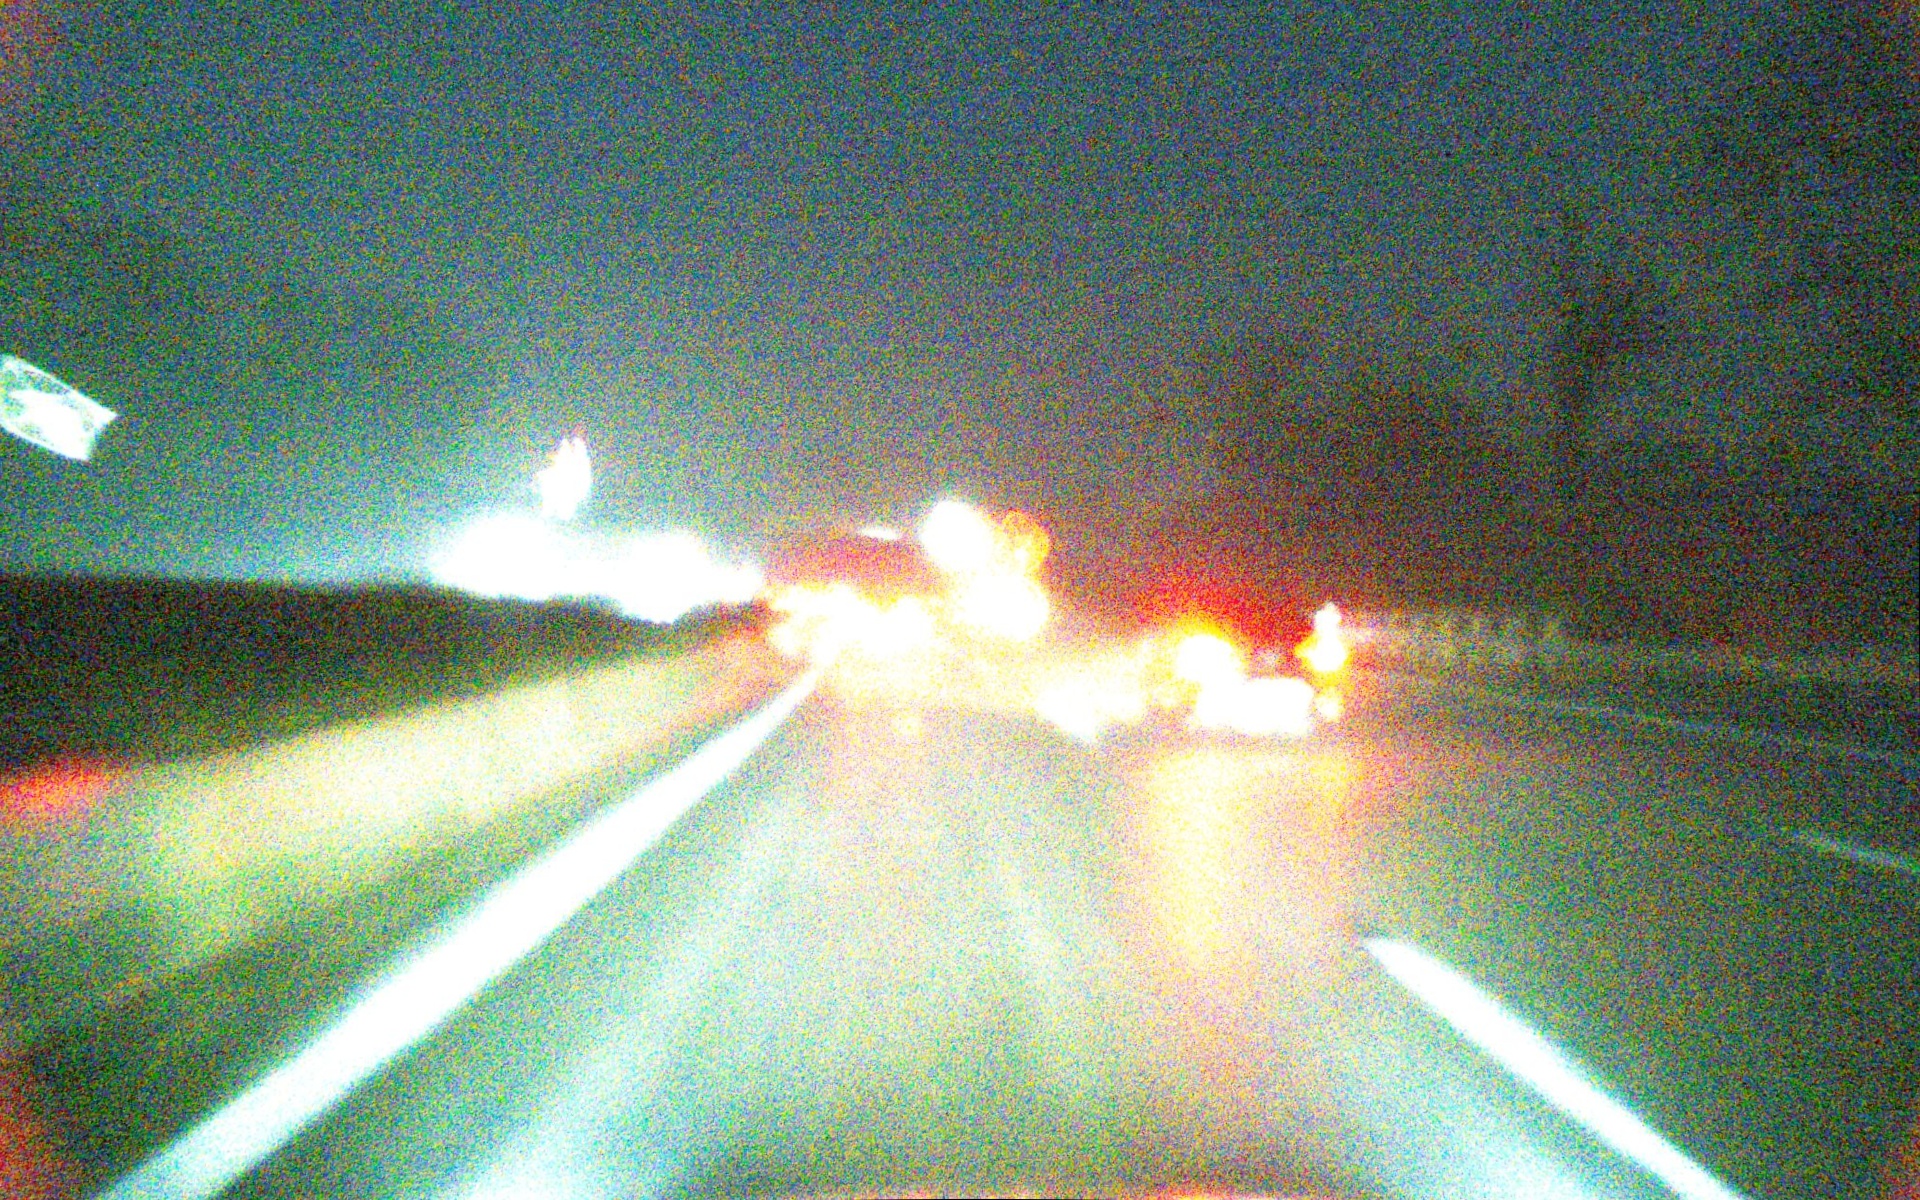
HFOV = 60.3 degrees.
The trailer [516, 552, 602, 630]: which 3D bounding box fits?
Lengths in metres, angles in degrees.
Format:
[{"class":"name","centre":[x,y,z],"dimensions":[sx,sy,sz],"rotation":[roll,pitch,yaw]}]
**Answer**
[{"class":"trailer","centre":[-21.933,-0.585,90.946],"dimensions":[2.871,3.813,9.492],"rotation":[5,1,-5]}]

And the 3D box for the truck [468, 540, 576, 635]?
[{"class":"truck","centre":[-21.196,-0.690,80.701],"dimensions":[2.890,4.106,10.644],"rotation":[5,1,-4]}]

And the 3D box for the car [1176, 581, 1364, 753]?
[{"class":"car","centre":[3.311,0.643,18.321],"dimensions":[1.762,1.645,4.260],"rotation":[1,0,7]}]

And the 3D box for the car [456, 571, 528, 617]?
[{"class":"car","centre":[-19.725,-0.277,69.800],"dimensions":[1.954,1.713,3.998],"rotation":[5,1,-3]}]

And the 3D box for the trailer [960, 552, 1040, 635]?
[{"class":"trailer","centre":[2.123,-0.536,94.078],"dimensions":[2.687,4.321,13.355],"rotation":[-1,2,-6]}]

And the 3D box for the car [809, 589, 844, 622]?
[{"class":"car","centre":[-8.638,0.388,106.648],"dimensions":[1.956,2.049,3.992],"rotation":[-1,-1,-8]}]

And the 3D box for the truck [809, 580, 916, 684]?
[{"class":"truck","centre":[-2.253,0.669,39.839],"dimensions":[2.102,2.113,6.603],"rotation":[5,1,-1]}]
